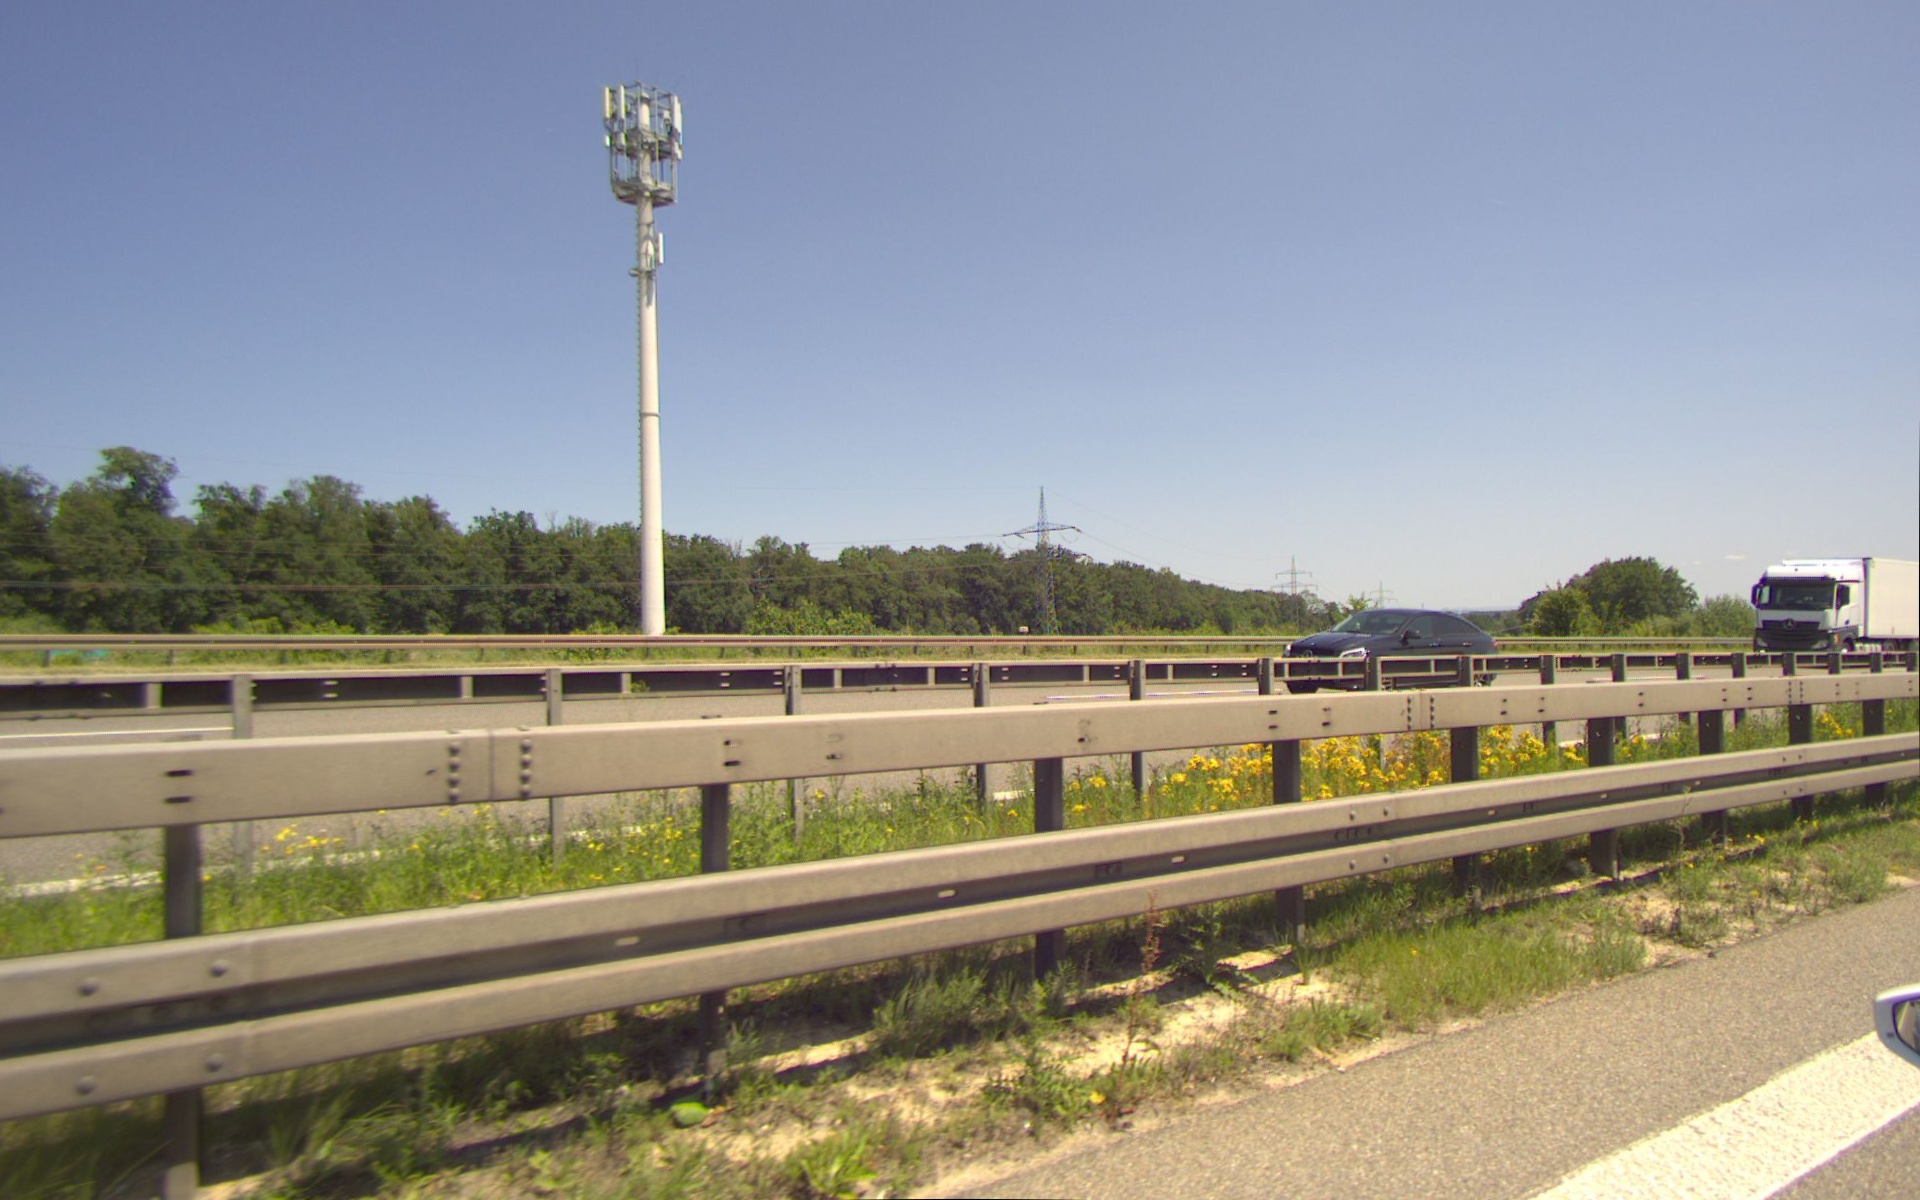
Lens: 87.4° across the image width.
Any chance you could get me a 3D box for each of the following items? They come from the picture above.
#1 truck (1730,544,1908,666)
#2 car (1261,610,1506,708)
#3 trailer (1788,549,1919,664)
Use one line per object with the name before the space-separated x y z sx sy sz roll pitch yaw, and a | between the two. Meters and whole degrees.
truck | 32.832 0.226 38.351 6.603 4.297 3.022 1 0 -29
car | 8.213 1.074 19.413 4.608 1.666 1.984 1 0 -30
trailer | 39.207 0.366 41.845 12.099 4.297 3.022 1 0 -29
